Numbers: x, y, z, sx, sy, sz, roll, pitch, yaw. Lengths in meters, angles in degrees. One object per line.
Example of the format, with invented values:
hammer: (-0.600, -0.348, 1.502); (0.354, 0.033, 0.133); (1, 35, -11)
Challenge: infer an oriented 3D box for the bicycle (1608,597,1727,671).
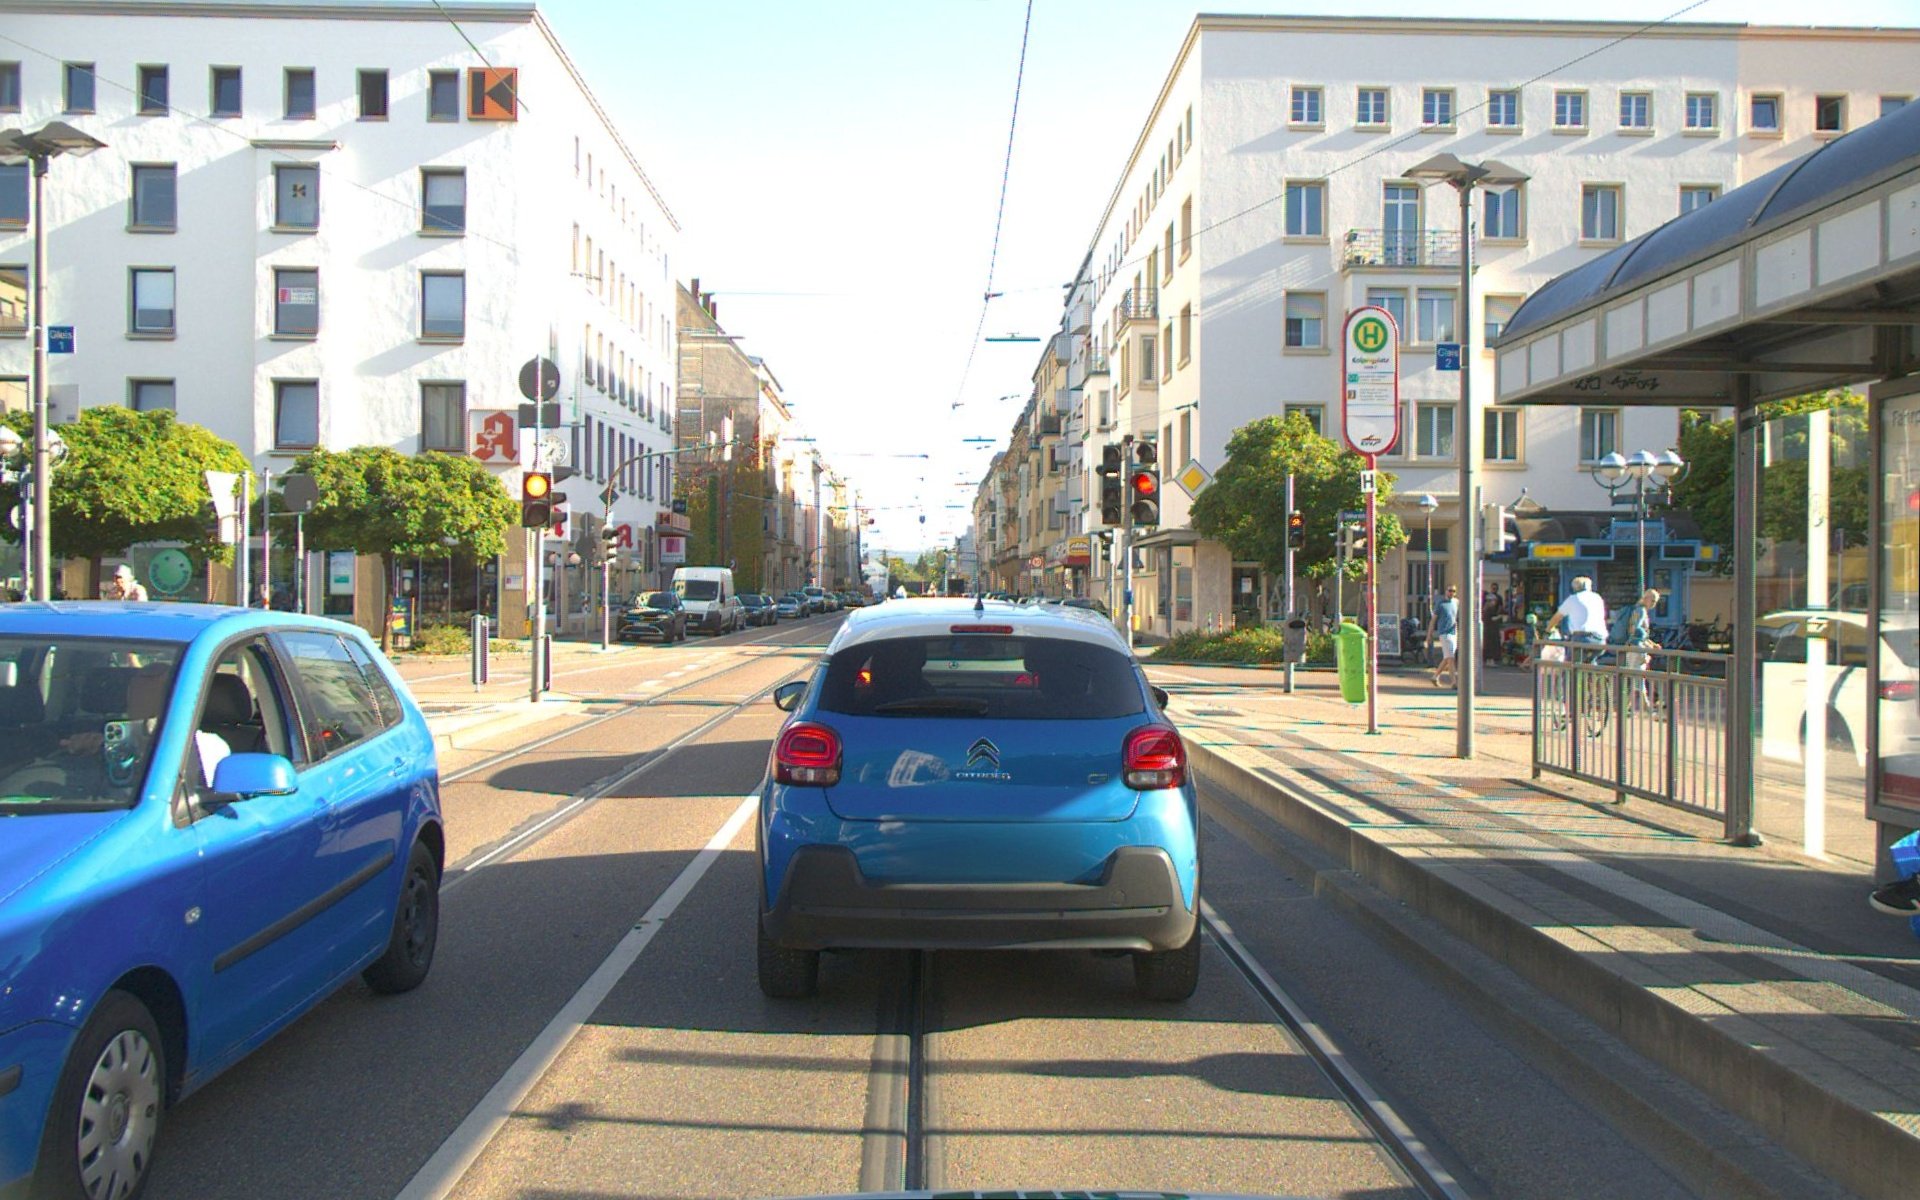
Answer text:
bicycle: (15.887, 0.752, 37.181); (2.336, 1.558, 0.726); (2, 0, -2)

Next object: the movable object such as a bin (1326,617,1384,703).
movable object such as a bin: (3.730, 0.560, 15.644); (0.439, 0.800, 0.489); (0, 0, 2)

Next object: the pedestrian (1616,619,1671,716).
pedestrian: (9.036, 0.886, 21.876); (0.546, 1.247, 0.527); (1, -1, 10)

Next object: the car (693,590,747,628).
car: (-10.046, 0.368, 69.459); (1.850, 1.522, 3.560); (1, 0, -2)

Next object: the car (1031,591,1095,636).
car: (3.529, 0.445, 57.139); (1.953, 1.489, 4.000); (0, 0, 0)

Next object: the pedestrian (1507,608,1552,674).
pedestrian: (12.830, 0.919, 37.265); (0.715, 1.434, 0.755); (0, 3, -1)

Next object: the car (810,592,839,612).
car: (-11.189, 0.174, 136.553); (1.914, 1.579, 3.939); (1, 0, 1)

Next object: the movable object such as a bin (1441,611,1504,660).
movable object such as a bin: (12.541, 0.855, 40.522); (1.174, 1.173, 1.217); (0, 0, 0)

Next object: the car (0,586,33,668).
car: (-22.391, 0.563, 35.525); (3.906, 1.736, 1.825); (0, 0, -1)

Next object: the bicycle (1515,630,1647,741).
bicycle: (6.884, 0.911, 18.456); (0.703, 1.080, 2.324); (2, 0, 4)

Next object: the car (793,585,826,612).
car: (-11.482, -0.092, 126.663); (1.965, 2.049, 4.690); (1, 0, 1)

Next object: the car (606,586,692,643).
car: (-9.792, 0.454, 52.354); (1.953, 1.596, 4.401); (3, 0, -2)

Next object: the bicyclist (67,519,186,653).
bicyclist: (-9.495, -0.155, 18.865); (0.810, 1.481, 0.878); (1, -1, 10)

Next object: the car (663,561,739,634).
car: (-9.737, -0.104, 62.717); (2.043, 2.586, 6.203); (1, 0, -2)

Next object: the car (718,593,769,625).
car: (-10.187, 0.410, 78.035); (1.953, 1.422, 4.155); (1, 0, -2)

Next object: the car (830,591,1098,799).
car: (-0.010, 0.687, 14.535); (1.944, 1.490, 4.814); (1, 0, -1)

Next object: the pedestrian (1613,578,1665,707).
pedestrian: (9.479, 0.584, 23.096); (0.546, 1.775, 0.527); (1, -1, 10)

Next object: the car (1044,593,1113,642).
car: (3.731, 0.524, 52.626); (1.870, 1.489, 4.000); (0, 0, 0)

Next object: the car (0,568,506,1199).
car: (-2.678, 0.683, 4.963); (1.633, 1.513, 3.999); (0, 0, -2)

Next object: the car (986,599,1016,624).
car: (2.719, 0.736, 109.369); (1.952, 1.579, 4.001); (0, 0, 1)

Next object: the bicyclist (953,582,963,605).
bicyclist: (-0.152, -0.564, 144.936); (0.793, 2.049, 0.922); (1, -1, -1)

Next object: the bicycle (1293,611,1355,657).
bicycle: (9.424, 0.877, 42.840); (1.534, 1.140, 0.300); (1, -1, 10)

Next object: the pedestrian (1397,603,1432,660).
pedestrian: (10.811, 0.747, 39.320); (0.725, 1.339, 0.628); (0, 0, 22)

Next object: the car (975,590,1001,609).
car: (2.247, -0.044, 133.314); (1.953, 1.489, 4.000); (0, 0, 0)

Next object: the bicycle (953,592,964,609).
bicycle: (-0.147, 0.047, 144.916); (0.901, 1.413, 3.131); (0, 0, -1)

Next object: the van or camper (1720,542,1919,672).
van or camper: (20.977, 0.121, 36.880); (6.976, 2.795, 2.371); (0, 1, 0)

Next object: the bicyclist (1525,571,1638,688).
bicyclist: (6.941, 0.319, 18.516); (0.931, 1.247, 0.934); (2, 0, 4)

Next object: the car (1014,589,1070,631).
car: (3.089, 0.374, 63.066); (1.953, 1.527, 4.000); (0, 0, 0)

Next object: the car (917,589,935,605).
car: (-3.783, -0.317, 183.841); (1.953, 1.803, 3.999); (0, 0, -1)

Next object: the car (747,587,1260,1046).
car: (0.117, 0.721, 7.448); (1.693, 1.508, 3.826); (1, 0, -1)

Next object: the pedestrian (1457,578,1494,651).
pedestrian: (13.306, 0.364, 42.731); (0.768, 1.871, 0.678); (0, 0, 2)

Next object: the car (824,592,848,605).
car: (-11.453, -0.180, 153.427); (1.953, 1.176, 4.000); (0, 0, 0)

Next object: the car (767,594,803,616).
car: (-10.898, 0.316, 103.136); (1.953, 1.348, 3.921); (1, 0, -2)

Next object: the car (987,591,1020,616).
car: (2.661, 0.220, 102.232); (1.953, 1.489, 4.504); (0, 0, 0)

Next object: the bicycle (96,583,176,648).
bicycle: (-21.338, 0.394, 42.886); (0.605, 1.635, 2.621); (0, 0, 3)

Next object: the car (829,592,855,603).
car: (-13.173, -0.297, 184.724); (1.951, 1.176, 4.518); (0, 0, 8)

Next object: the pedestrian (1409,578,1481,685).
pedestrian: (8.902, 0.576, 30.393); (0.961, 1.910, 1.128); (0, -1, -3)

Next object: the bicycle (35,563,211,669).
bicycle: (-9.503, 0.175, 18.872); (0.712, 1.132, 1.978); (1, 0, 11)

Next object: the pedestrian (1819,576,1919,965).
pedestrian: (3.582, 0.572, 5.442); (0.978, 1.246, 0.923); (3, -1, -1)

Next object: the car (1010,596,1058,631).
car: (3.238, 0.569, 73.235); (1.953, 1.489, 4.000); (0, 0, 0)
